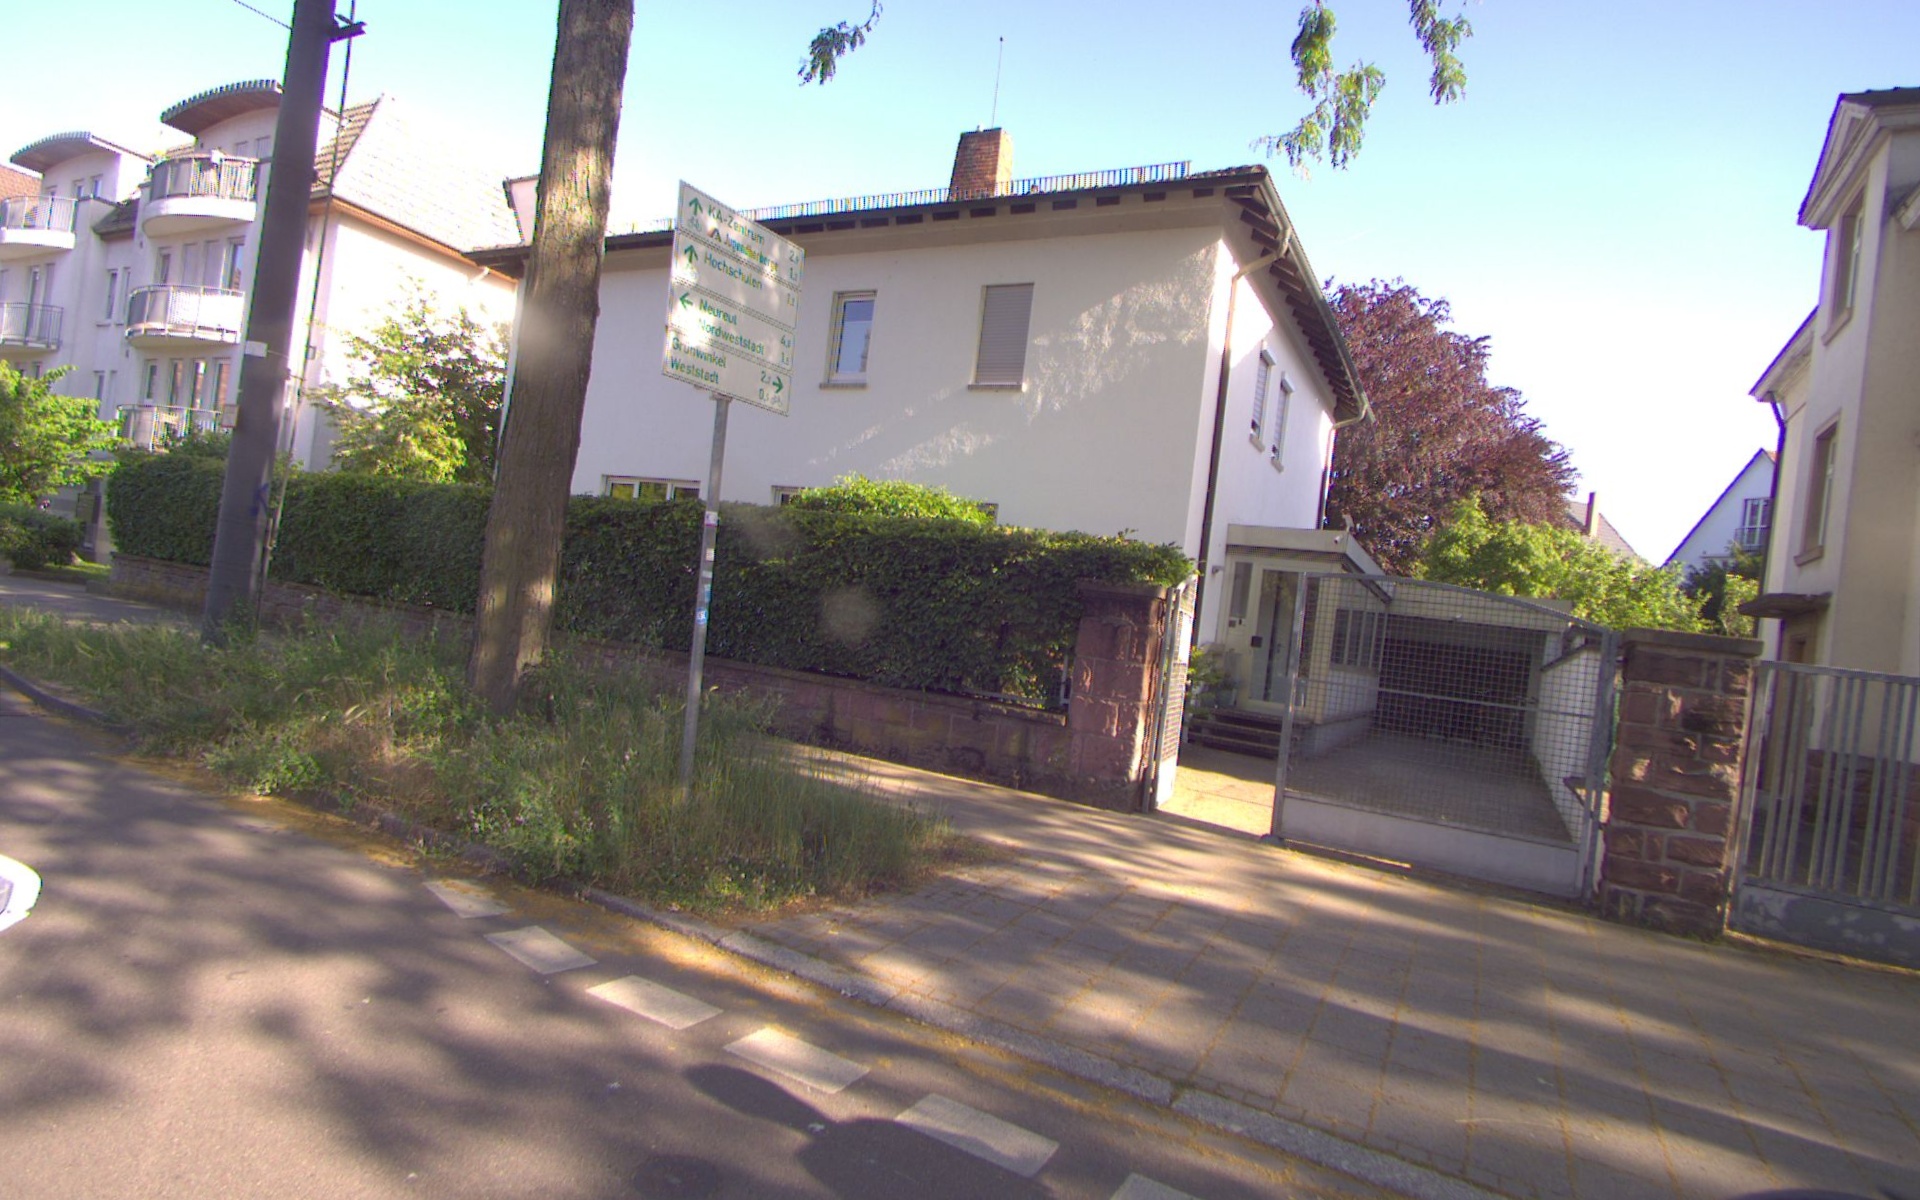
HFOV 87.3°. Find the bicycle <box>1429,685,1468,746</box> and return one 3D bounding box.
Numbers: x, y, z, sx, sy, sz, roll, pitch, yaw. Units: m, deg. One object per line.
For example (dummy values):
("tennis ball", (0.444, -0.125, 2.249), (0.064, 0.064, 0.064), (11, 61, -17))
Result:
("bicycle", (9.998, 2.360, 20.571), (0.512, 1.135, 1.465), (6, -2, 30))

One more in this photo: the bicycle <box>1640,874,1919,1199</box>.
("bicycle", (2.265, 1.272, 1.461), (2.061, 1.167, 0.831), (6, -2, 33))

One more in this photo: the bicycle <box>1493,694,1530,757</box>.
("bicycle", (10.921, 2.477, 19.904), (0.512, 1.135, 1.465), (6, -2, 30))

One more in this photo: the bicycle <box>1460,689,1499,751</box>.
("bicycle", (10.475, 2.411, 20.274), (0.512, 1.135, 1.465), (6, -2, 30))

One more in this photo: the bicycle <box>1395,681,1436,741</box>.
("bicycle", (9.488, 2.307, 20.936), (0.512, 1.135, 1.465), (6, -2, 30))
